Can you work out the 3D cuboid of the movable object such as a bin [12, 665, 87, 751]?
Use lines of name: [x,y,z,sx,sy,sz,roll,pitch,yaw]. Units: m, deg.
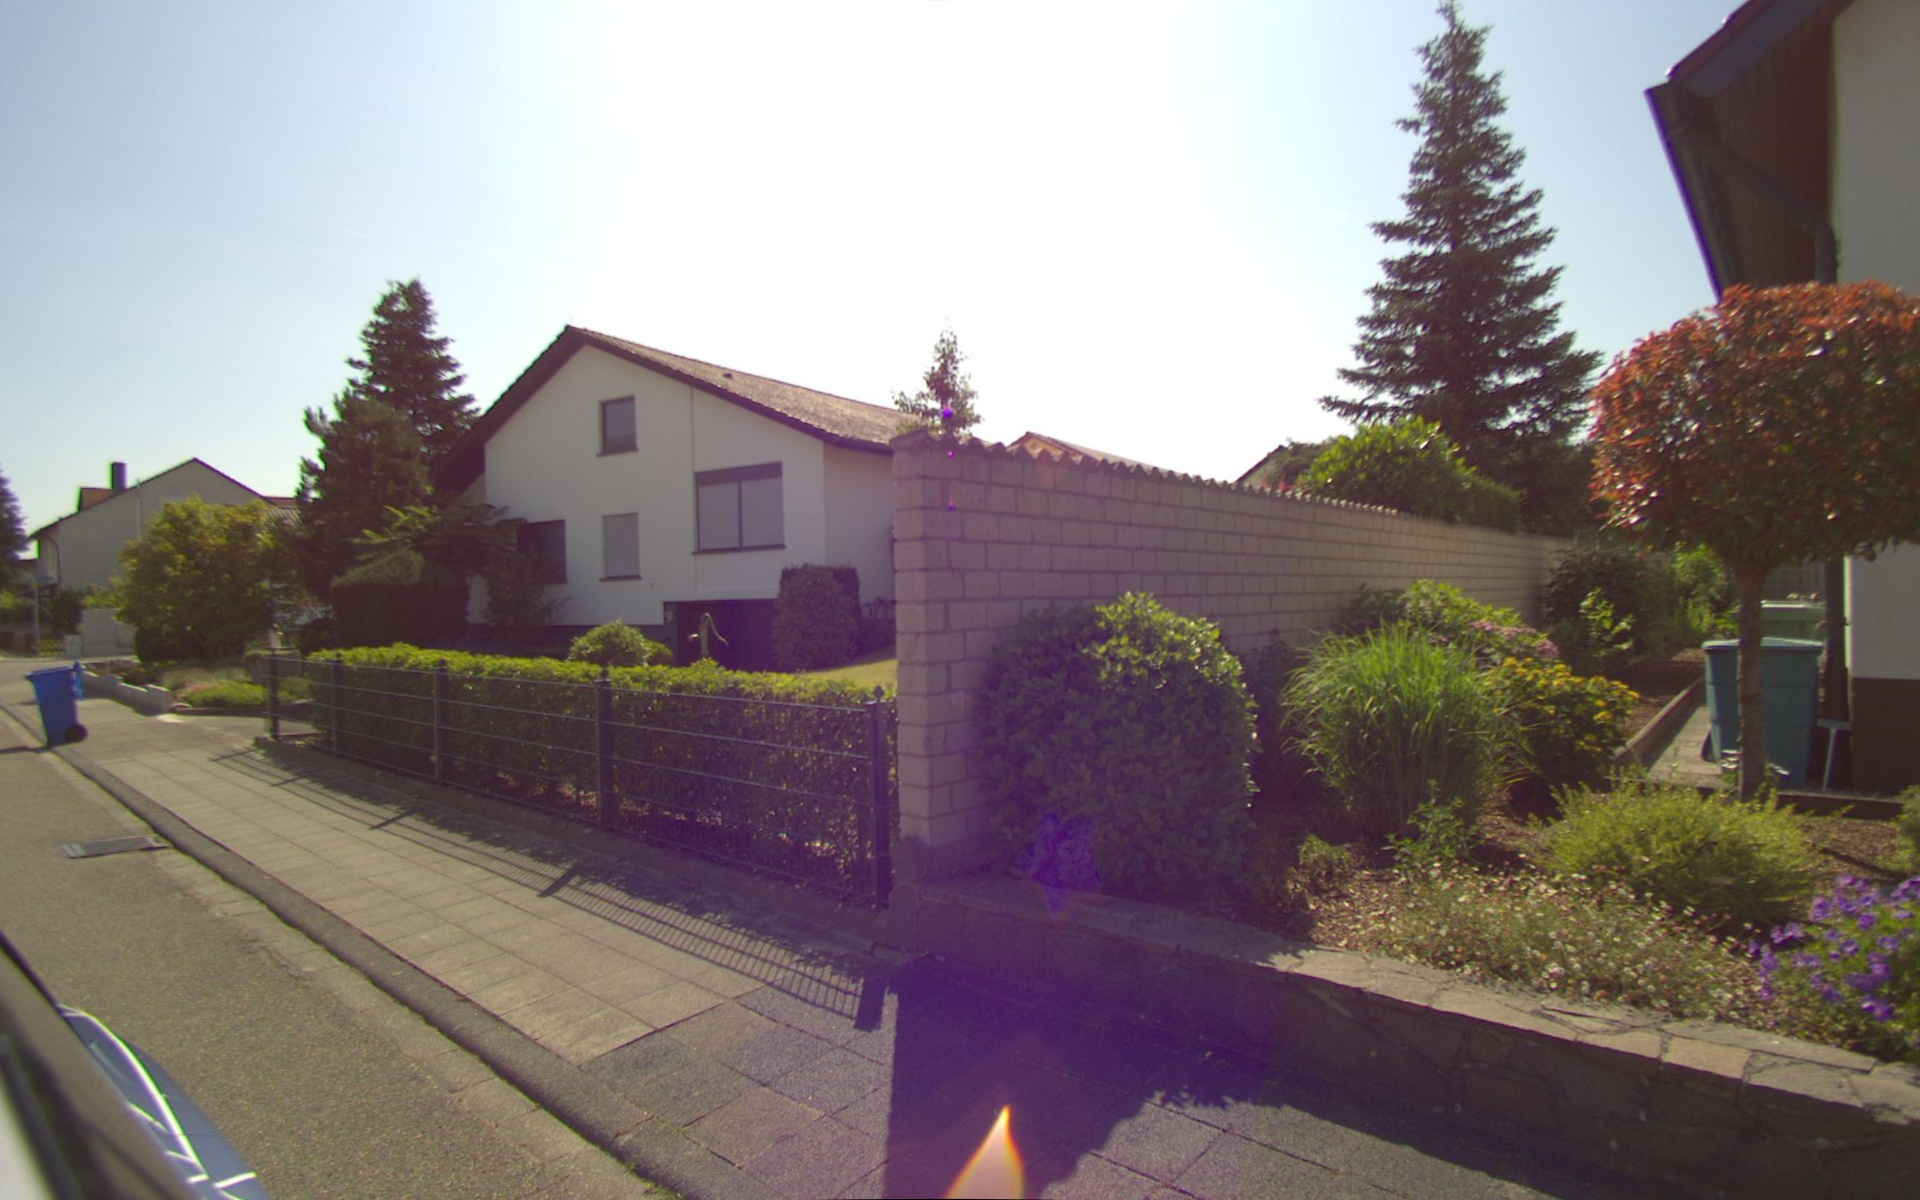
movable object such as a bin: [-10.736,1.253,11.931,0.598,0.923,0.577,-2,1,42]
